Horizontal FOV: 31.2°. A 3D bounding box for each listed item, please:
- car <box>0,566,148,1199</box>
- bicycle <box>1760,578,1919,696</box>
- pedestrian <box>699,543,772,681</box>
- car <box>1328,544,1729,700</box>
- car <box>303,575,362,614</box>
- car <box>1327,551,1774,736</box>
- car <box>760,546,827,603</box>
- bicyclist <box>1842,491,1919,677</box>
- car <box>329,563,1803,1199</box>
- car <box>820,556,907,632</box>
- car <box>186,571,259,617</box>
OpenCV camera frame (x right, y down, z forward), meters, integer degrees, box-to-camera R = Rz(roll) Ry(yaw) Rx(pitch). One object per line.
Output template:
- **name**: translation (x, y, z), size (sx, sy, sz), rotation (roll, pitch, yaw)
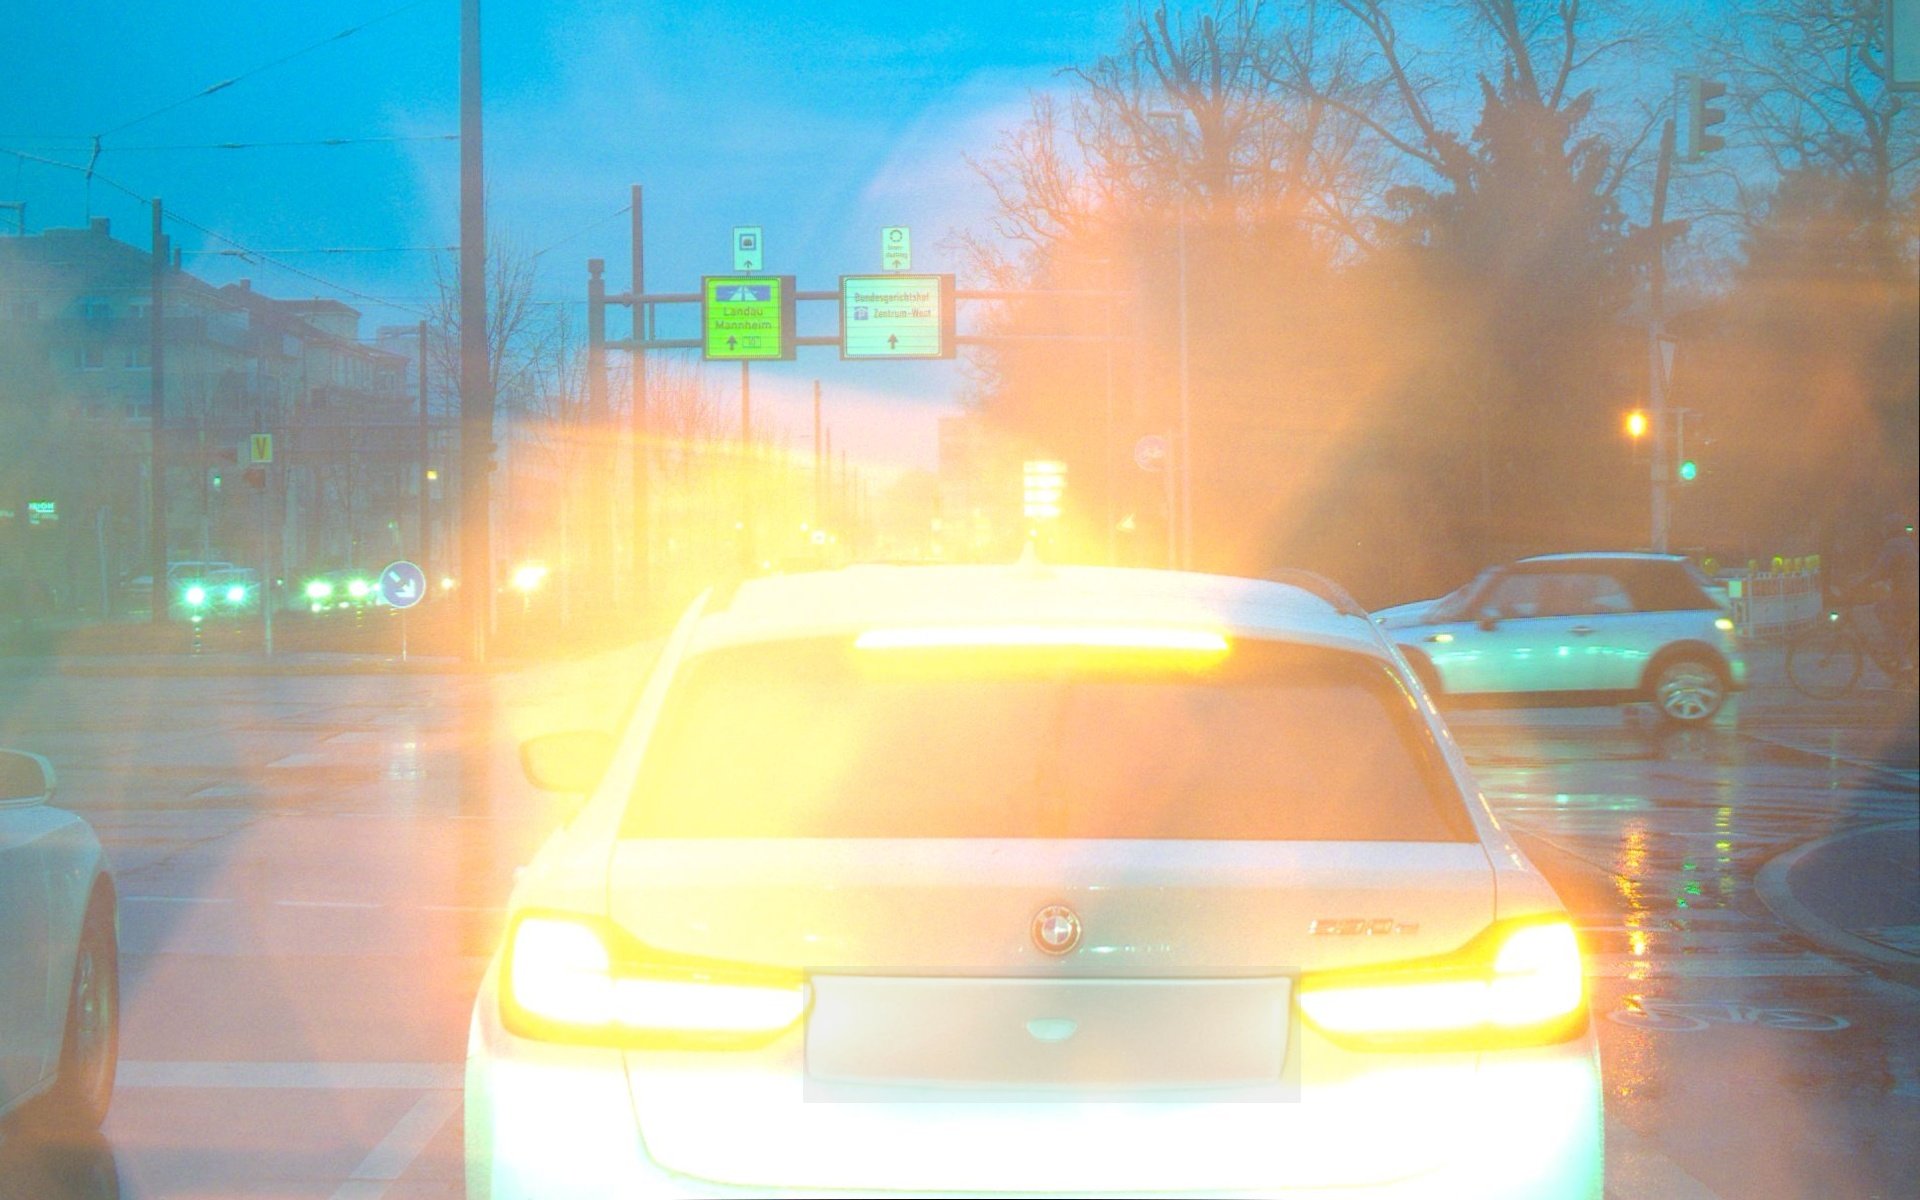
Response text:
- **car**: translation (-3.091, 0.671, 7.055), size (1.993, 1.451, 4.369), rotation (0, 1, -2)
- **bicycle**: translation (9.053, 0.367, 32.960), size (2.668, 1.085, 0.814), rotation (1, 0, 13)
- **pedestrian**: translation (-3.063, 0.162, 46.811), size (0.902, 1.850, 0.812), rotation (1, 0, -8)
- **car**: translation (6.103, 0.218, 36.844), size (3.959, 1.548, 1.747), rotation (1, 0, 20)
- **car**: translation (-24.912, -0.213, 136.593), size (1.675, 1.502, 3.696), rotation (1, 0, -1)
- **car**: translation (5.117, 0.364, 29.819), size (3.689, 1.473, 1.628), rotation (1, 0, 11)
- **car**: translation (-4.958, -0.749, 102.641), size (1.843, 1.603, 3.945), rotation (1, 0, -1)
- **bicyclist**: translation (8.987, -0.150, 32.985), size (0.973, 1.753, 0.813), rotation (1, 0, 13)
- **car**: translation (0.054, 0.673, 6.837), size (1.993, 1.451, 4.369), rotation (0, 1, -2)
- **car**: translation (-2.137, -0.140, 76.239), size (1.843, 1.603, 3.945), rotation (1, 0, -2)
- **car**: translation (-24.934, -0.208, 116.306), size (1.675, 1.502, 3.696), rotation (1, 0, -1)
